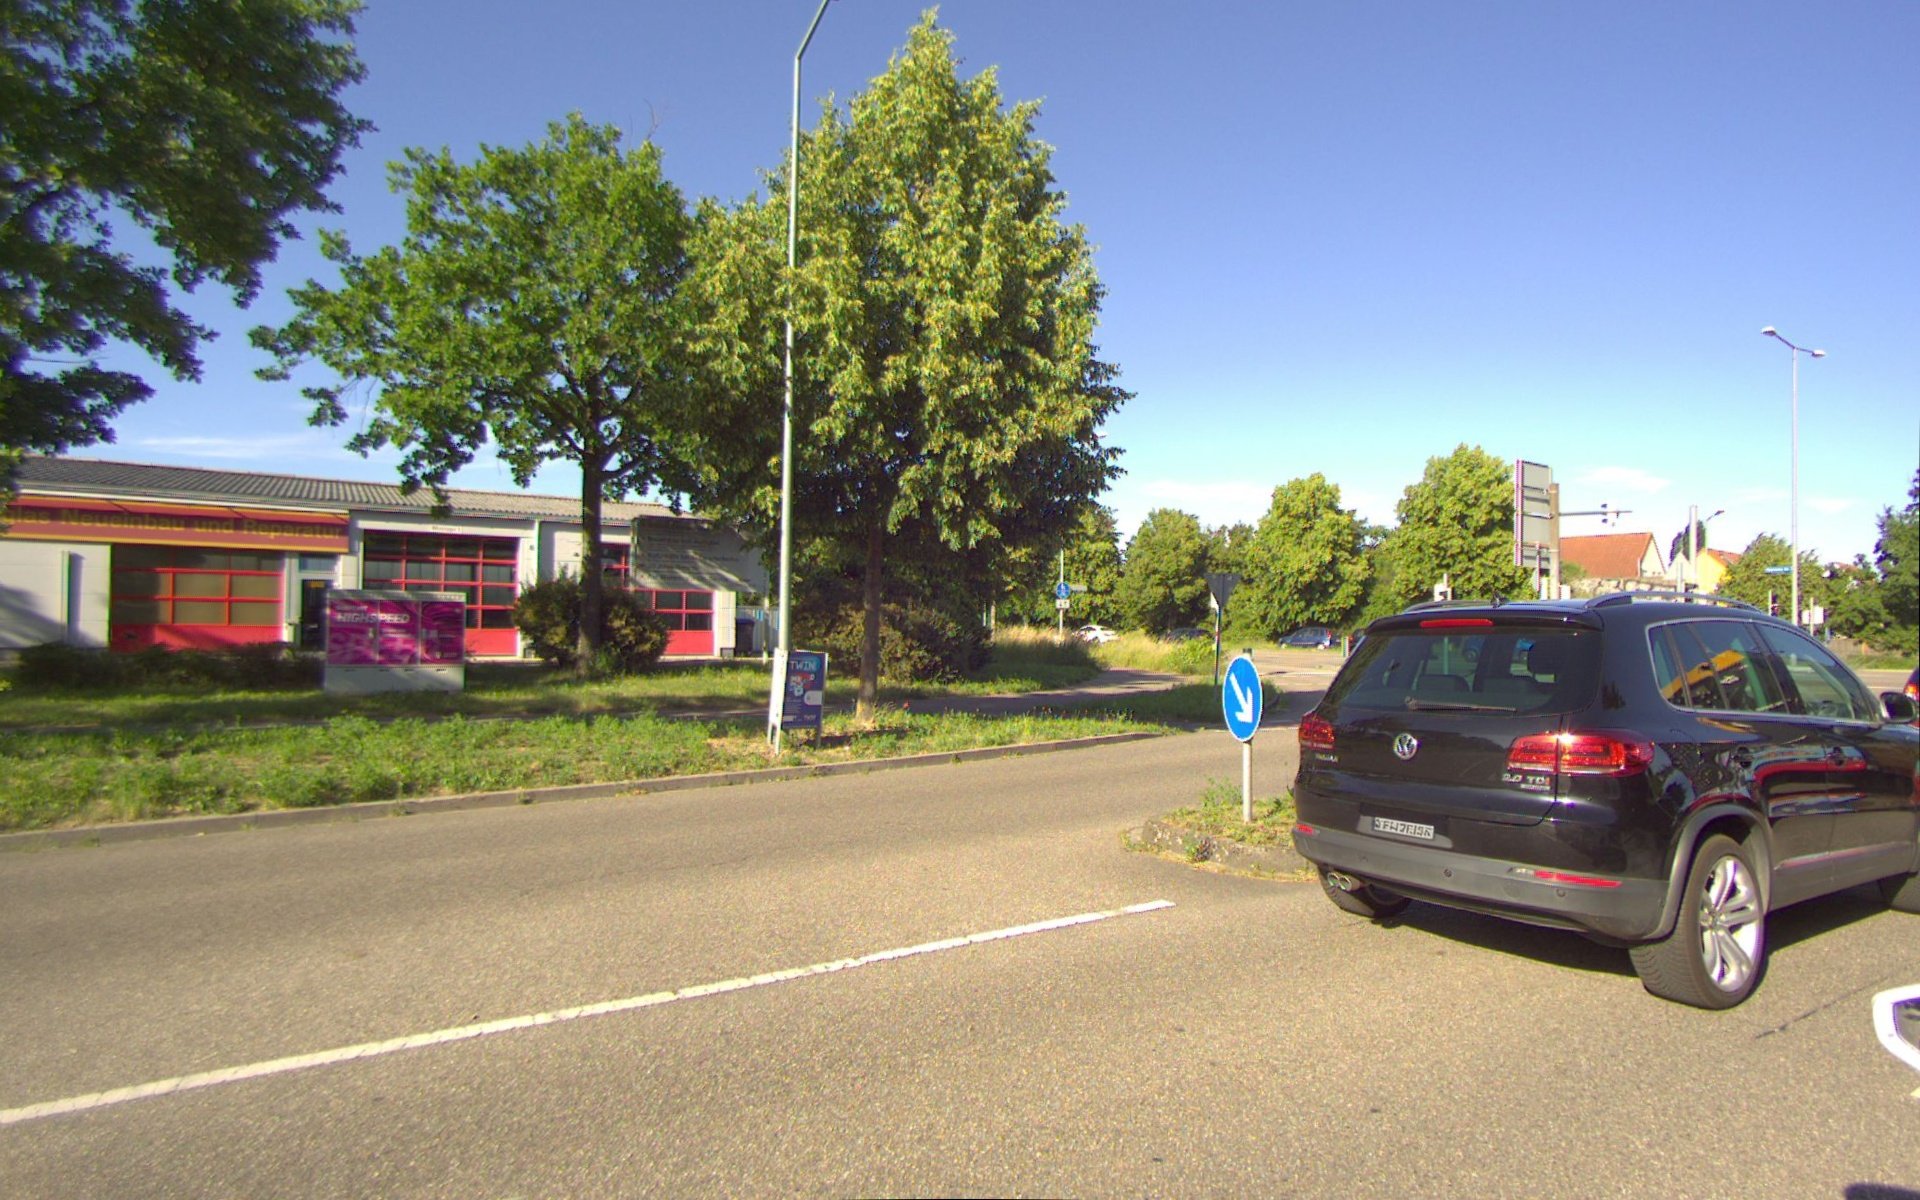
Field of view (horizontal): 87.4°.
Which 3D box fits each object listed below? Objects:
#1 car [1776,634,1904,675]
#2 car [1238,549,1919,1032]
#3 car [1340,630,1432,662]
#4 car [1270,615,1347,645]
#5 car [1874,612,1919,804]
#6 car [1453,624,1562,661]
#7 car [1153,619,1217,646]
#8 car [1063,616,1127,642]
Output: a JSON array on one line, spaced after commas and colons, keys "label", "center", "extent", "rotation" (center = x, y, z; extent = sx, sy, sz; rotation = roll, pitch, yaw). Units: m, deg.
[{"label": "car", "center": [38.334, 2.358, 43.847], "extent": [1.678, 1.633, 3.961], "rotation": [1, -1, -35]}, {"label": "car", "center": [3.563, 0.774, 5.352], "extent": [3.957, 1.695, 1.812], "rotation": [2, -3, -31]}, {"label": "car", "center": [20.232, 2.187, 47.811], "extent": [1.494, 1.330, 3.817], "rotation": [2, -1, -38]}, {"label": "car", "center": [20.207, 1.745, 58.377], "extent": [1.680, 1.573, 3.959], "rotation": [2, -1, -36]}, {"label": "car", "center": [10.246, 0.925, 9.185], "extent": [3.987, 1.642, 1.745], "rotation": [0, -1, -31]}, {"label": "car", "center": [23.685, 1.819, 43.569], "extent": [1.668, 1.403, 3.817], "rotation": [2, -1, -38]}, {"label": "car", "center": [15.748, 2.246, 70.412], "extent": [1.982, 1.737, 3.957], "rotation": [2, -1, -37]}, {"label": "car", "center": [9.778, 2.070, 72.770], "extent": [1.982, 1.737, 4.493], "rotation": [2, -1, -37]}]
